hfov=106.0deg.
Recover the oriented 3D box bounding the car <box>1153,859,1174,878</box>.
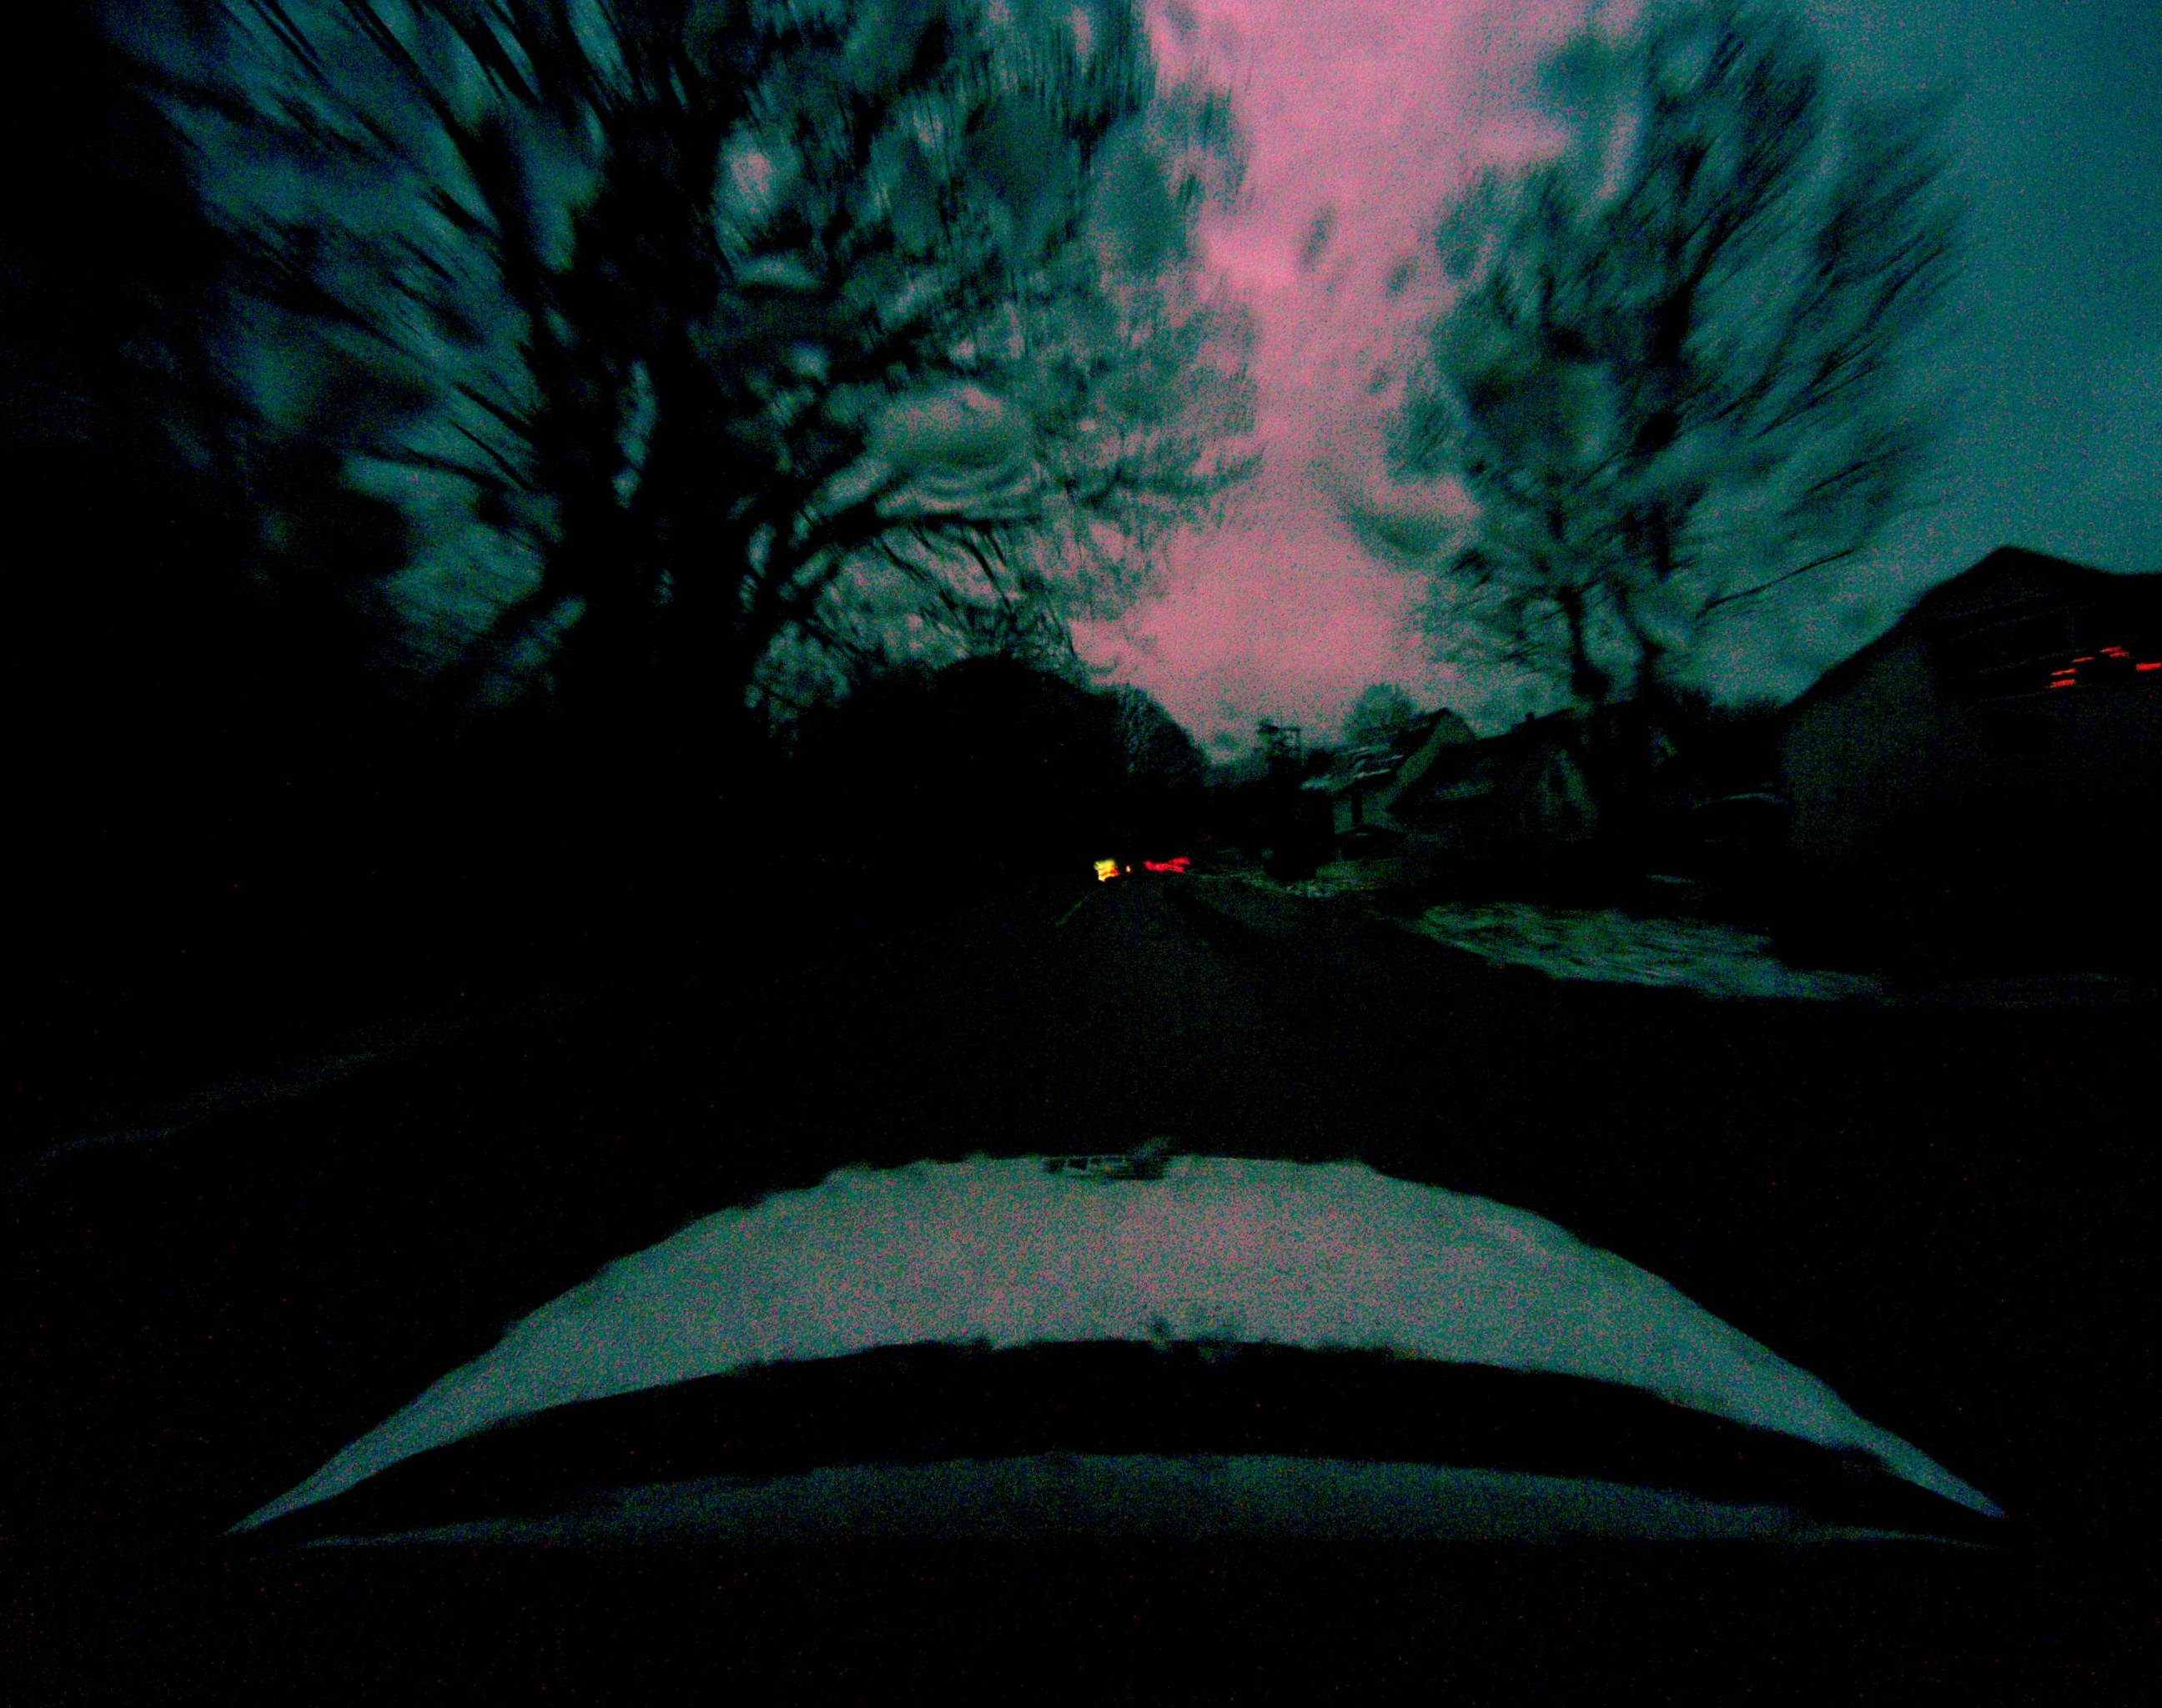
[{"bbox_3d":[8.331,1.473,81.723,1.922,1.781,4.008,-2,0,7],"label":"car"}]

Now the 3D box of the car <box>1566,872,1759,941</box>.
[{"bbox_3d":[15.103,1.331,21.305,3.771,1.597,1.802,-2,0,-2],"label":"car"}]

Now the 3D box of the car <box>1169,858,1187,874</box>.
[{"bbox_3d":[11.194,1.388,93.931,1.922,1.676,4.008,-2,0,7],"label":"car"}]

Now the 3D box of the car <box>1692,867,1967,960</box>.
[{"bbox_3d":[14.541,1.113,15.976,3.771,1.597,1.802,-2,0,-2],"label":"car"}]
